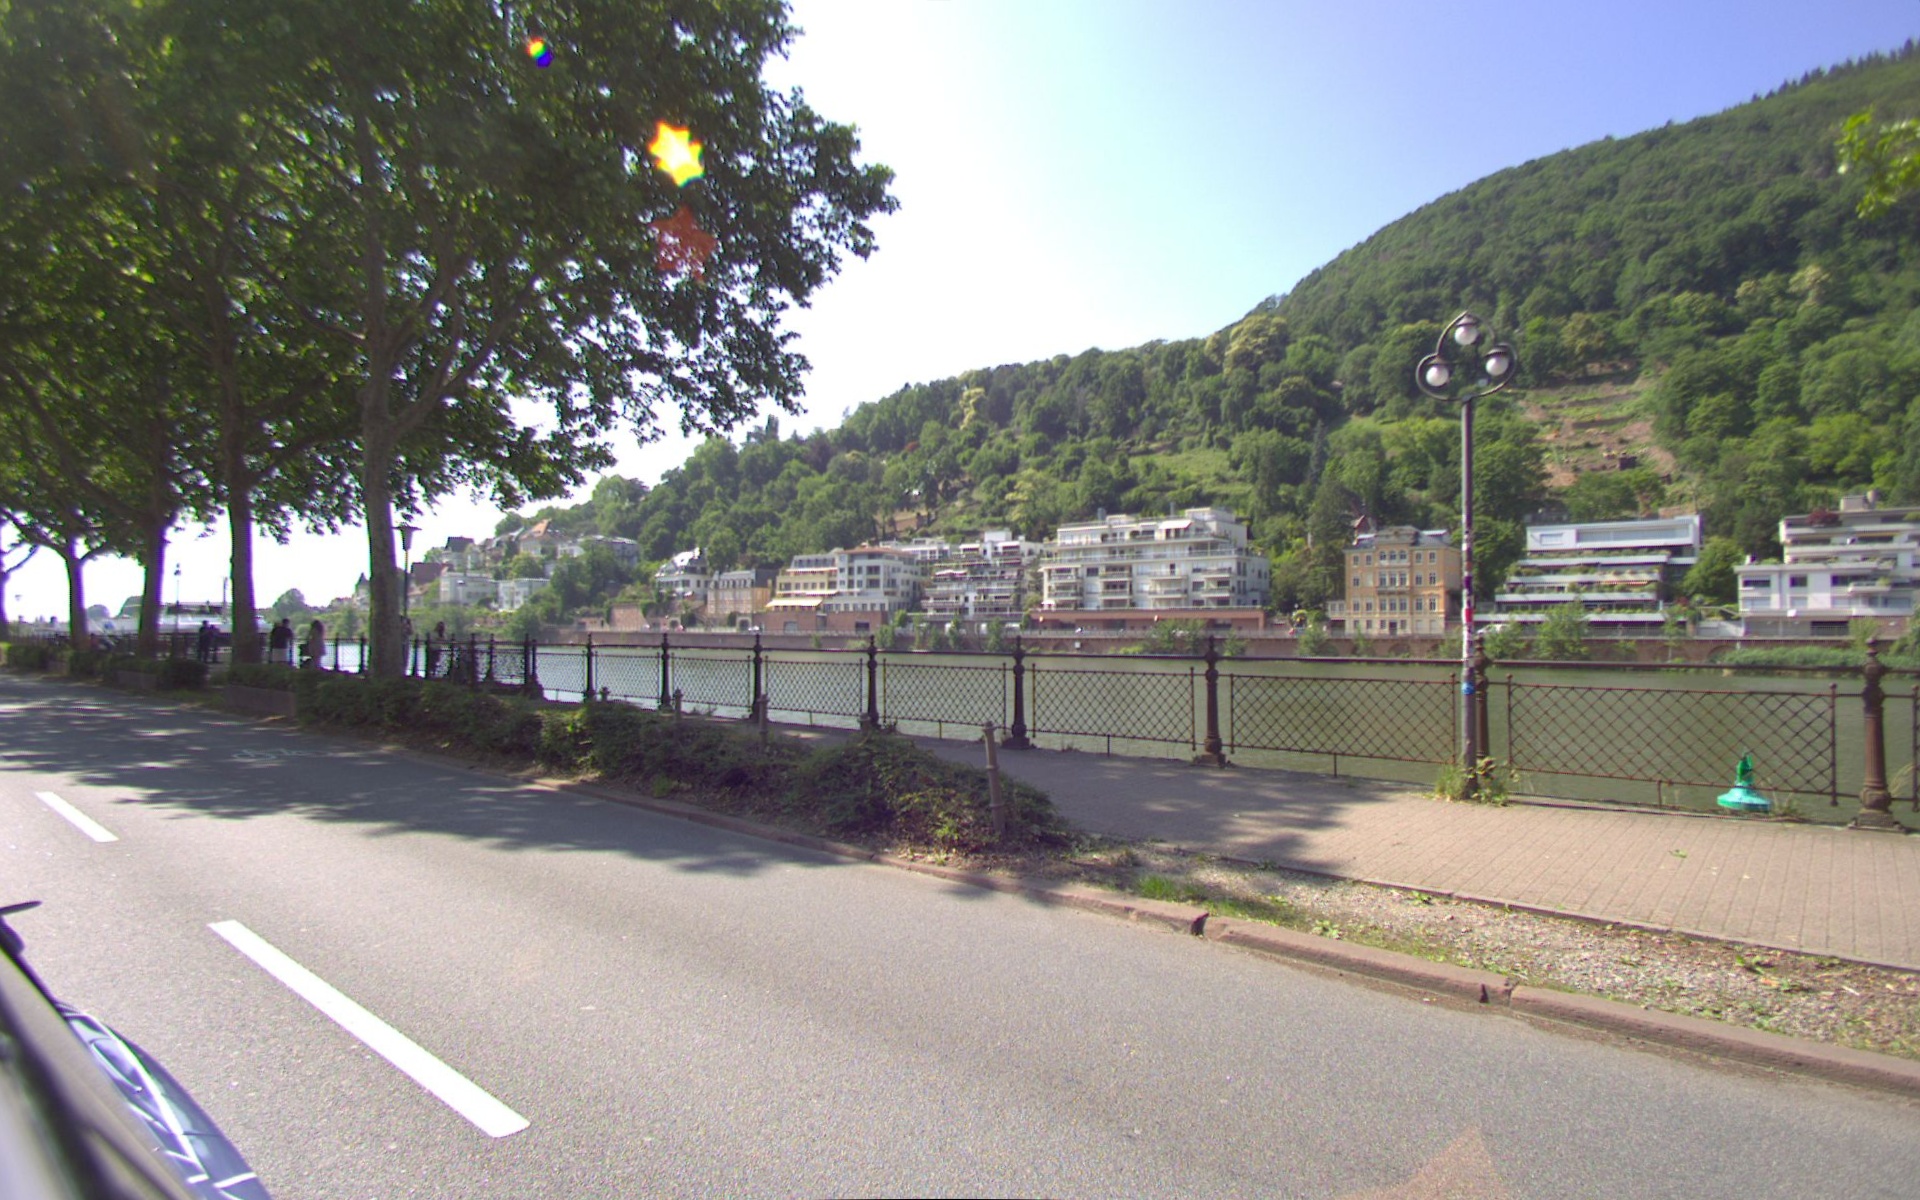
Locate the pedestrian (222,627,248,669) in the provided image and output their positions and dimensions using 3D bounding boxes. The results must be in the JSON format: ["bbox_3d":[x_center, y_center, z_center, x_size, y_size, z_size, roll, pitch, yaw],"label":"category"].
[{"bbox_3d":[-28.695,1.886,40.067,0.705,1.615,0.696,-1,-2,43],"label":"pedestrian"}]

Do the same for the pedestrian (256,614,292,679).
[{"bbox_3d":[-20.091,1.360,29.652,0.805,1.884,0.634,-2,-4,42],"label":"pedestrian"}]

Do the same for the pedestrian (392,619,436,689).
[{"bbox_3d":[-13.798,1.350,25.552,0.873,1.730,0.686,-1,-1,40],"label":"pedestrian"}]

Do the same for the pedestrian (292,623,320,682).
[{"bbox_3d":[-19.854,1.578,30.712,0.455,1.732,0.608,-1,-1,41],"label":"pedestrian"}]

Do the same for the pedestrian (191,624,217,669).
[{"bbox_3d":[-30.175,1.851,40.396,0.705,1.744,0.696,-1,-2,43],"label":"pedestrian"}]

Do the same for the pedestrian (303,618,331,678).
[{"bbox_3d":[-19.252,1.445,30.289,0.592,1.782,0.511,-2,-4,42],"label":"pedestrian"}]
